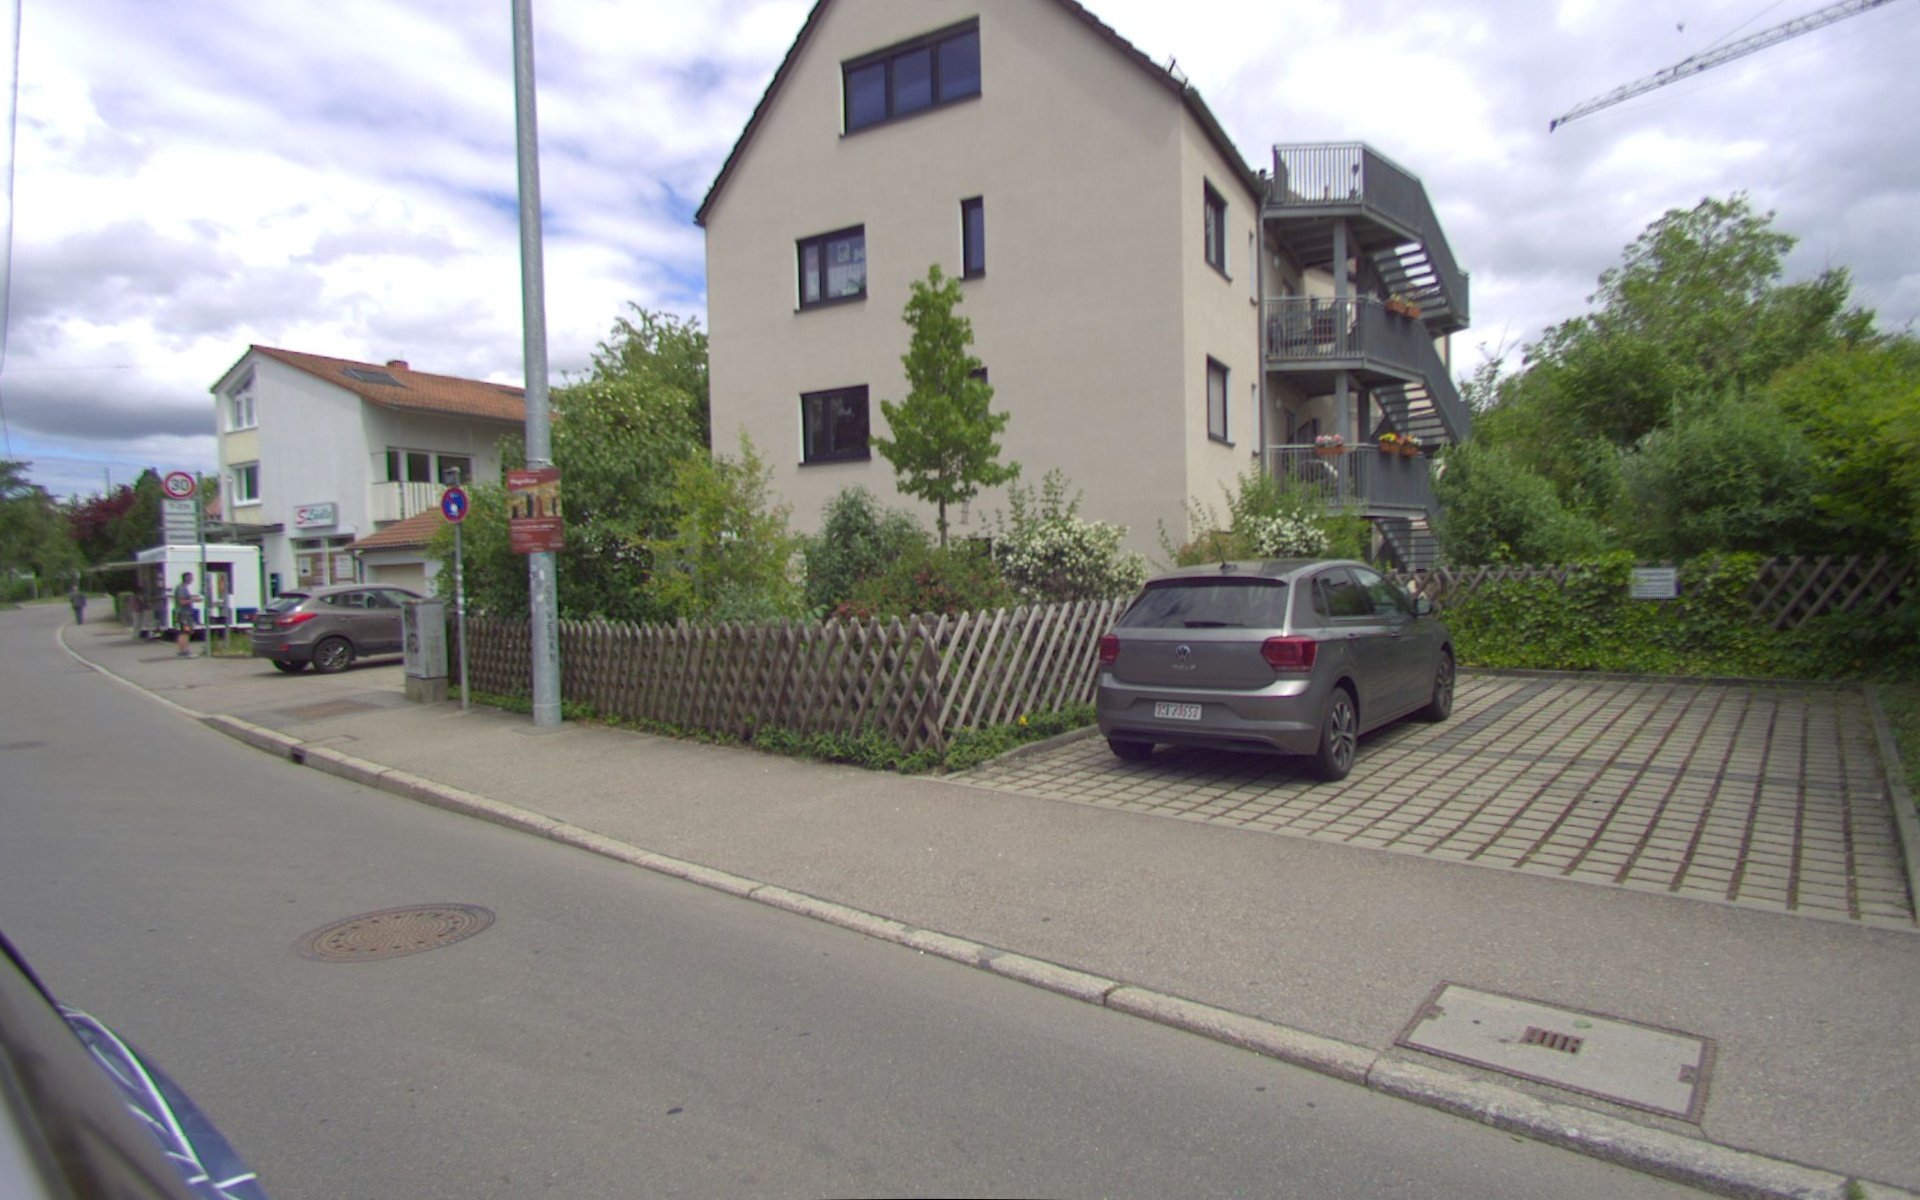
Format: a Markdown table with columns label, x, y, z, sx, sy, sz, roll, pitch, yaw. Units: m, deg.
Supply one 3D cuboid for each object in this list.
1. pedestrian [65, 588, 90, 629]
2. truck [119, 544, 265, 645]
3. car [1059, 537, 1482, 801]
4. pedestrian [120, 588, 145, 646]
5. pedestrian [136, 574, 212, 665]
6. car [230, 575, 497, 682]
| label | x | y | z | sx | sy | sz | roll | pitch | yaw |
| --- | --- | --- | --- | --- | --- | --- | --- | --- | --- |
| pedestrian | -40.331 | 0.384 | 46.260 | 0.714 | 1.698 | 1.111 | -5 | 9 | -42 |
| truck | -24.364 | -0.222 | 31.966 | 6.707 | 2.861 | 2.446 | 1 | 3 | 43 |
| car | 2.591 | 0.318 | 7.898 | 1.817 | 1.444 | 3.634 | 0 | 5 | 41 |
| pedestrian | -25.008 | 0.500 | 30.583 | 0.597 | 1.707 | 0.397 | 0 | 4 | 42 |
| pedestrian | -17.896 | 0.420 | 23.048 | 1.199 | 1.960 | 0.736 | -5 | 4 | -42 |
| car | -12.034 | 0.480 | 20.720 | 1.792 | 1.708 | 4.279 | 0 | 4 | 33 |
